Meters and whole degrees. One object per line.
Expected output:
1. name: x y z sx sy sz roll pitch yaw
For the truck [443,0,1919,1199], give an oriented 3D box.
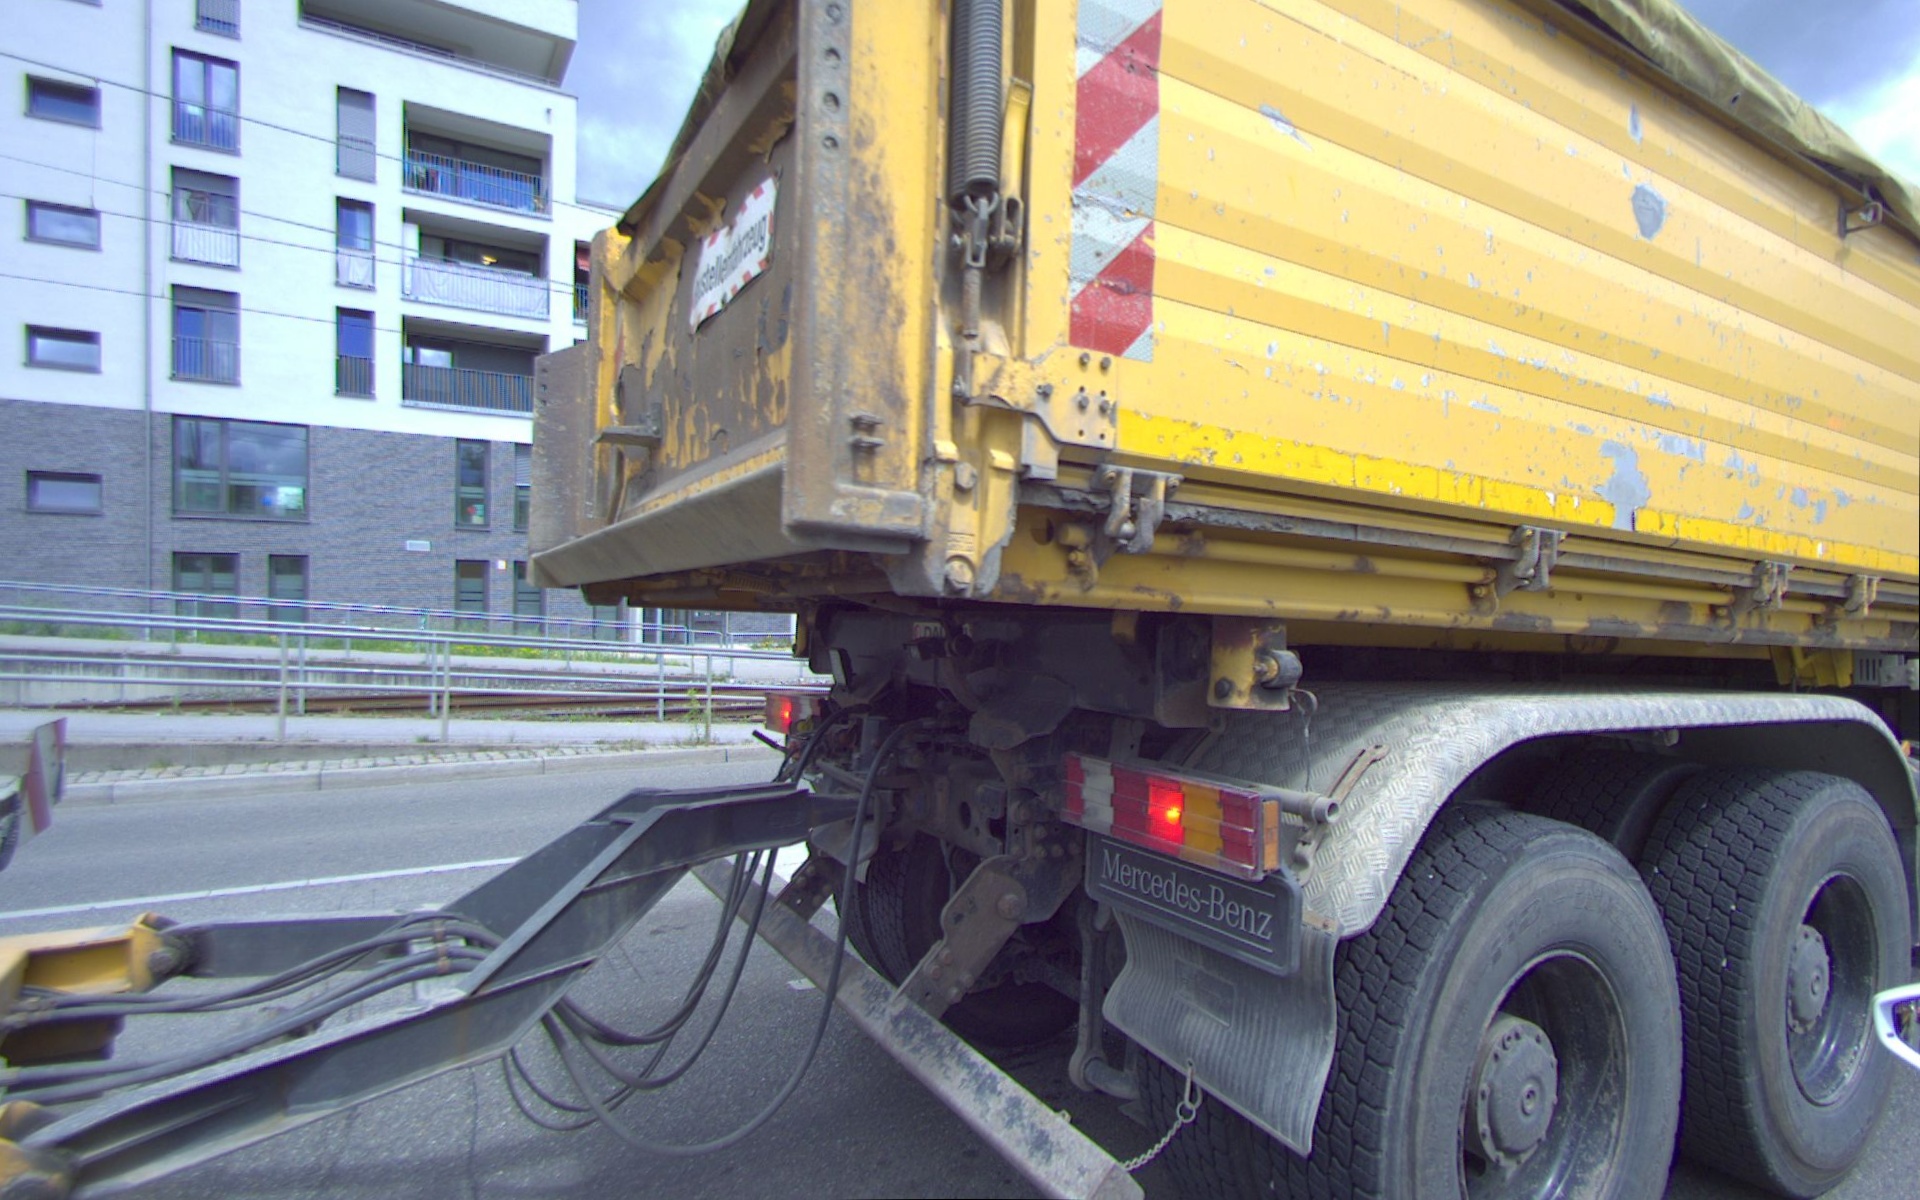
1. truck: 2.429 -0.175 4.140 7.915 3.439 3.033 1 0 -32
